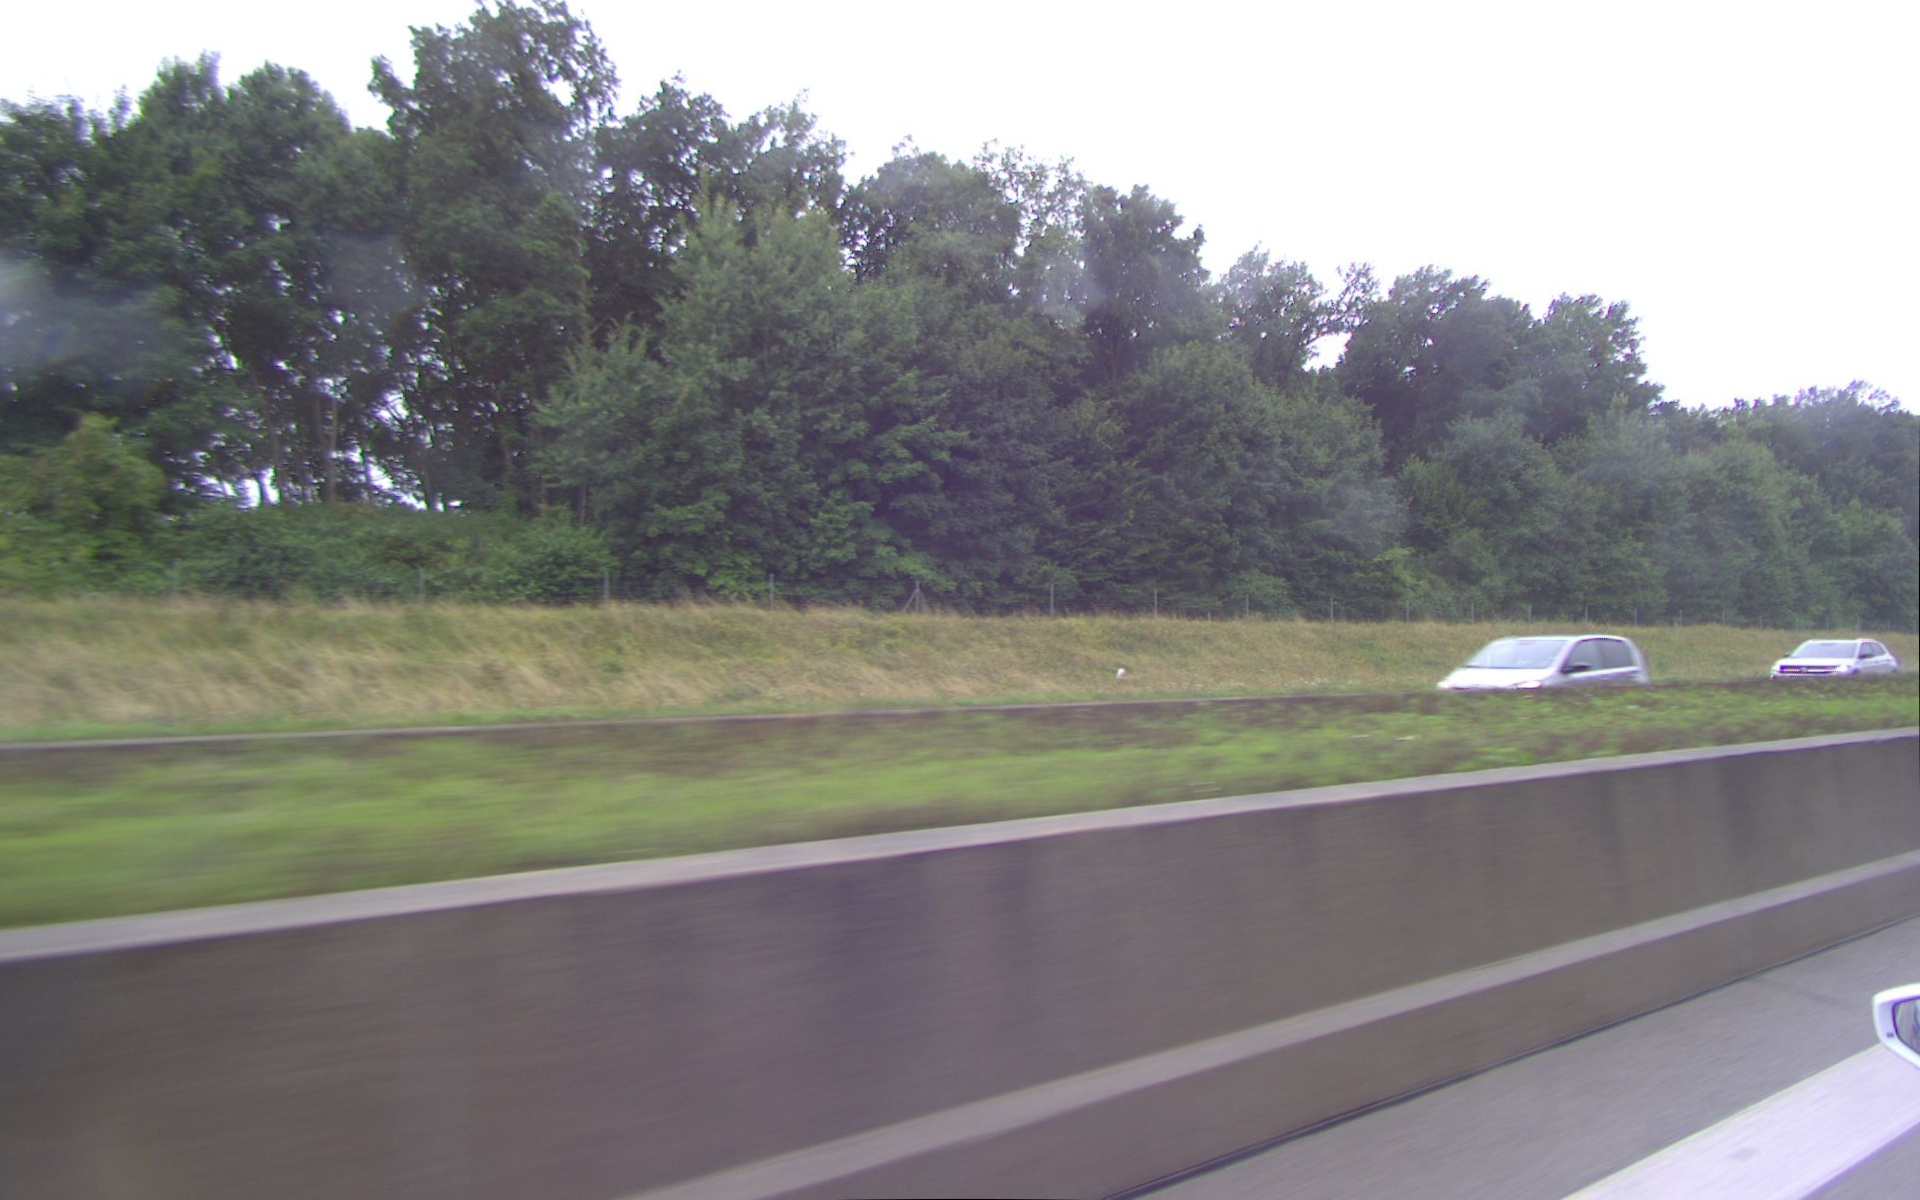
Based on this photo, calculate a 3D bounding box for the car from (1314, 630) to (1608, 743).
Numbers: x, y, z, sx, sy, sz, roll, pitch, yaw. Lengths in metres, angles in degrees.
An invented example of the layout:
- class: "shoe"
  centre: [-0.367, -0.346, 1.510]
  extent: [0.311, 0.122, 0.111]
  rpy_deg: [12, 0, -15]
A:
- class: "car"
  centre: [6.961, 1.095, 13.864]
  extent: [4.052, 1.351, 1.730]
  rpy_deg: [1, -2, -31]

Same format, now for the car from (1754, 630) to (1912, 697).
- class: "car"
  centre: [23.835, 1.701, 27.406]
  extent: [4.633, 1.687, 1.871]
  rpy_deg: [2, -3, -30]
